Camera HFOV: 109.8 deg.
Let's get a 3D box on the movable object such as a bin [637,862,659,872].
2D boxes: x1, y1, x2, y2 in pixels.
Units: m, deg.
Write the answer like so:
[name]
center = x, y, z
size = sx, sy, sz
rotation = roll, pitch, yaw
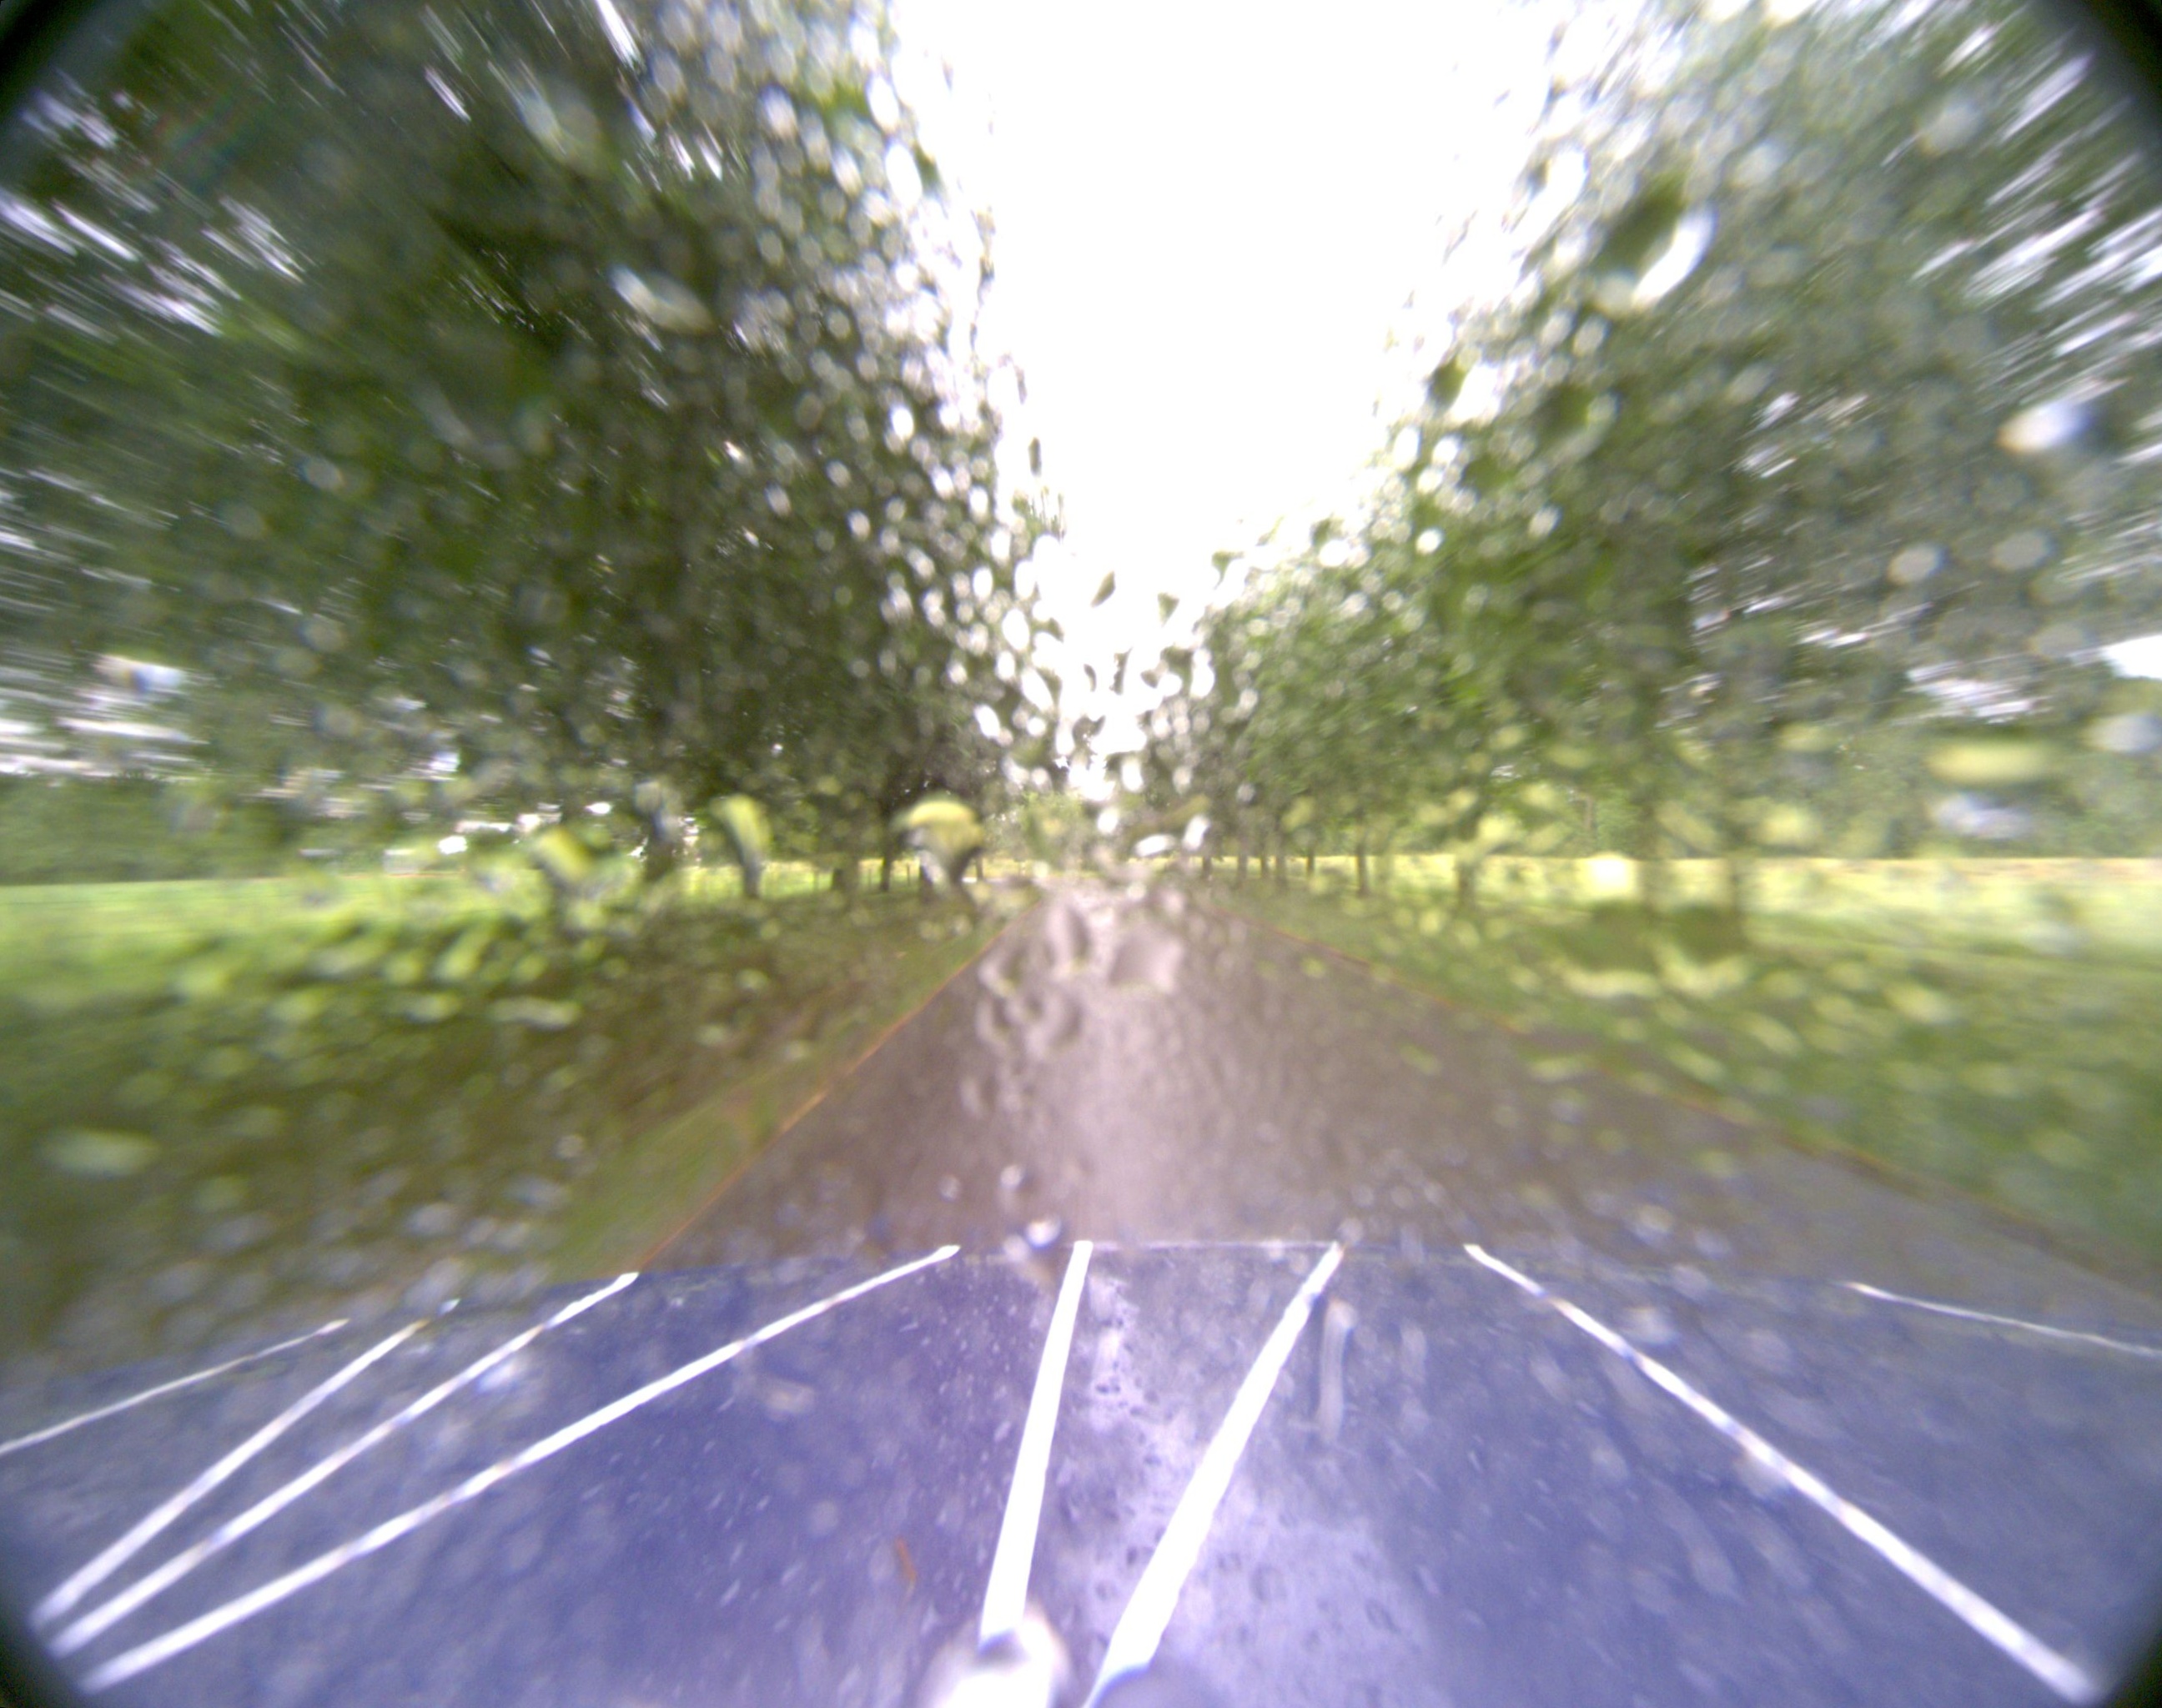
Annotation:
[movable object such as a bin]
center = -72.234, 2.183, 126.703
size = 3.528, 1.562, 1.687
rotation = -1, 0, 34
